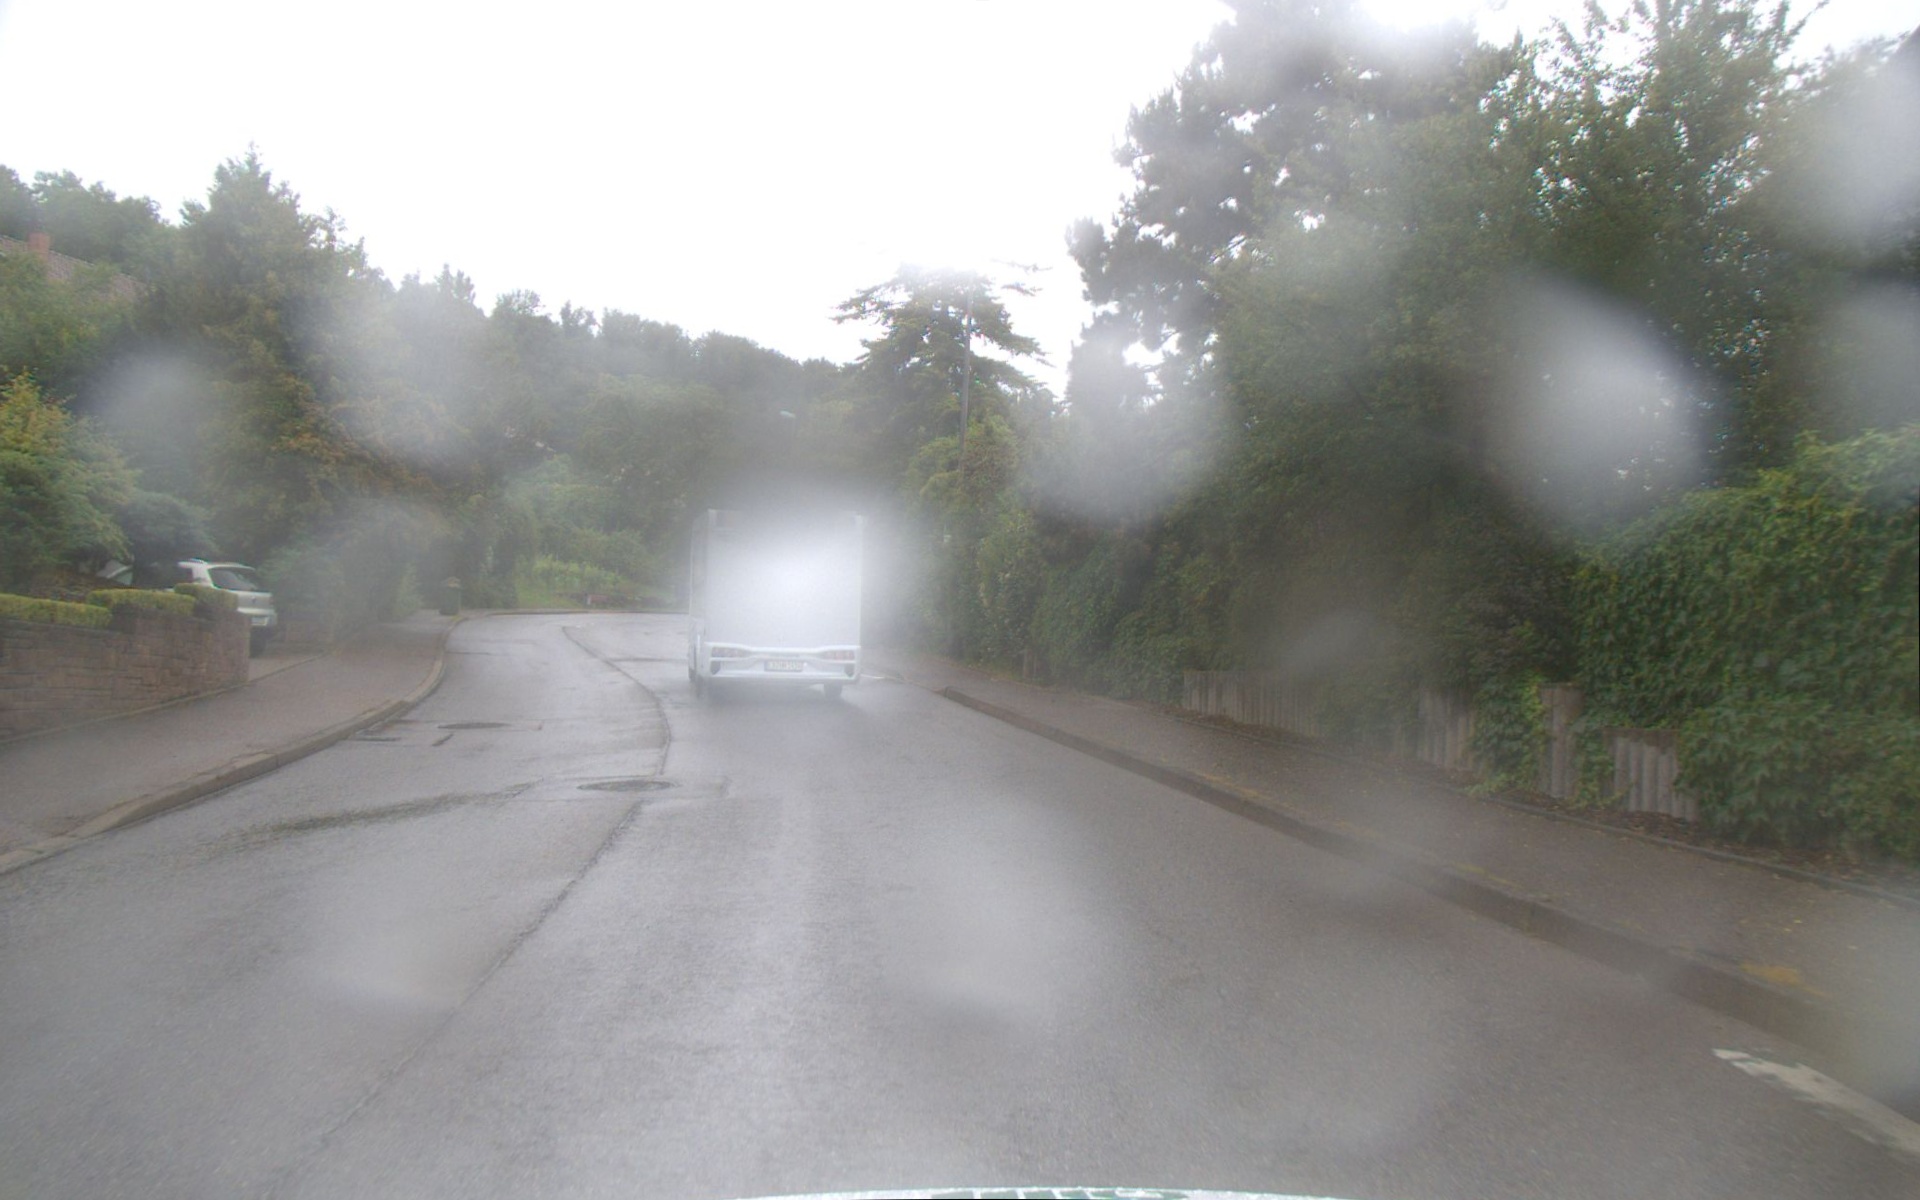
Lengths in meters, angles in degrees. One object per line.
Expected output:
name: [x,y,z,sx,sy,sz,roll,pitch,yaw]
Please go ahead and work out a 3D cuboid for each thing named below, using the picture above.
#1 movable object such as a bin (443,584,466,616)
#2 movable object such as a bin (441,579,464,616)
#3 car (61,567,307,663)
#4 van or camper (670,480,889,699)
movable object such as a bin: [-18.008,0.002,58.926,0.730,1.113,0.754,2,0,-18]
movable object such as a bin: [-18.341,-0.097,59.755,0.730,1.275,0.754,2,0,-18]
car: [-14.002,0.287,29.873,3.851,1.612,1.864,-1,-1,20]
van or camper: [-2.964,-0.071,25.659,2.571,2.903,6.009,2,-2,-13]
